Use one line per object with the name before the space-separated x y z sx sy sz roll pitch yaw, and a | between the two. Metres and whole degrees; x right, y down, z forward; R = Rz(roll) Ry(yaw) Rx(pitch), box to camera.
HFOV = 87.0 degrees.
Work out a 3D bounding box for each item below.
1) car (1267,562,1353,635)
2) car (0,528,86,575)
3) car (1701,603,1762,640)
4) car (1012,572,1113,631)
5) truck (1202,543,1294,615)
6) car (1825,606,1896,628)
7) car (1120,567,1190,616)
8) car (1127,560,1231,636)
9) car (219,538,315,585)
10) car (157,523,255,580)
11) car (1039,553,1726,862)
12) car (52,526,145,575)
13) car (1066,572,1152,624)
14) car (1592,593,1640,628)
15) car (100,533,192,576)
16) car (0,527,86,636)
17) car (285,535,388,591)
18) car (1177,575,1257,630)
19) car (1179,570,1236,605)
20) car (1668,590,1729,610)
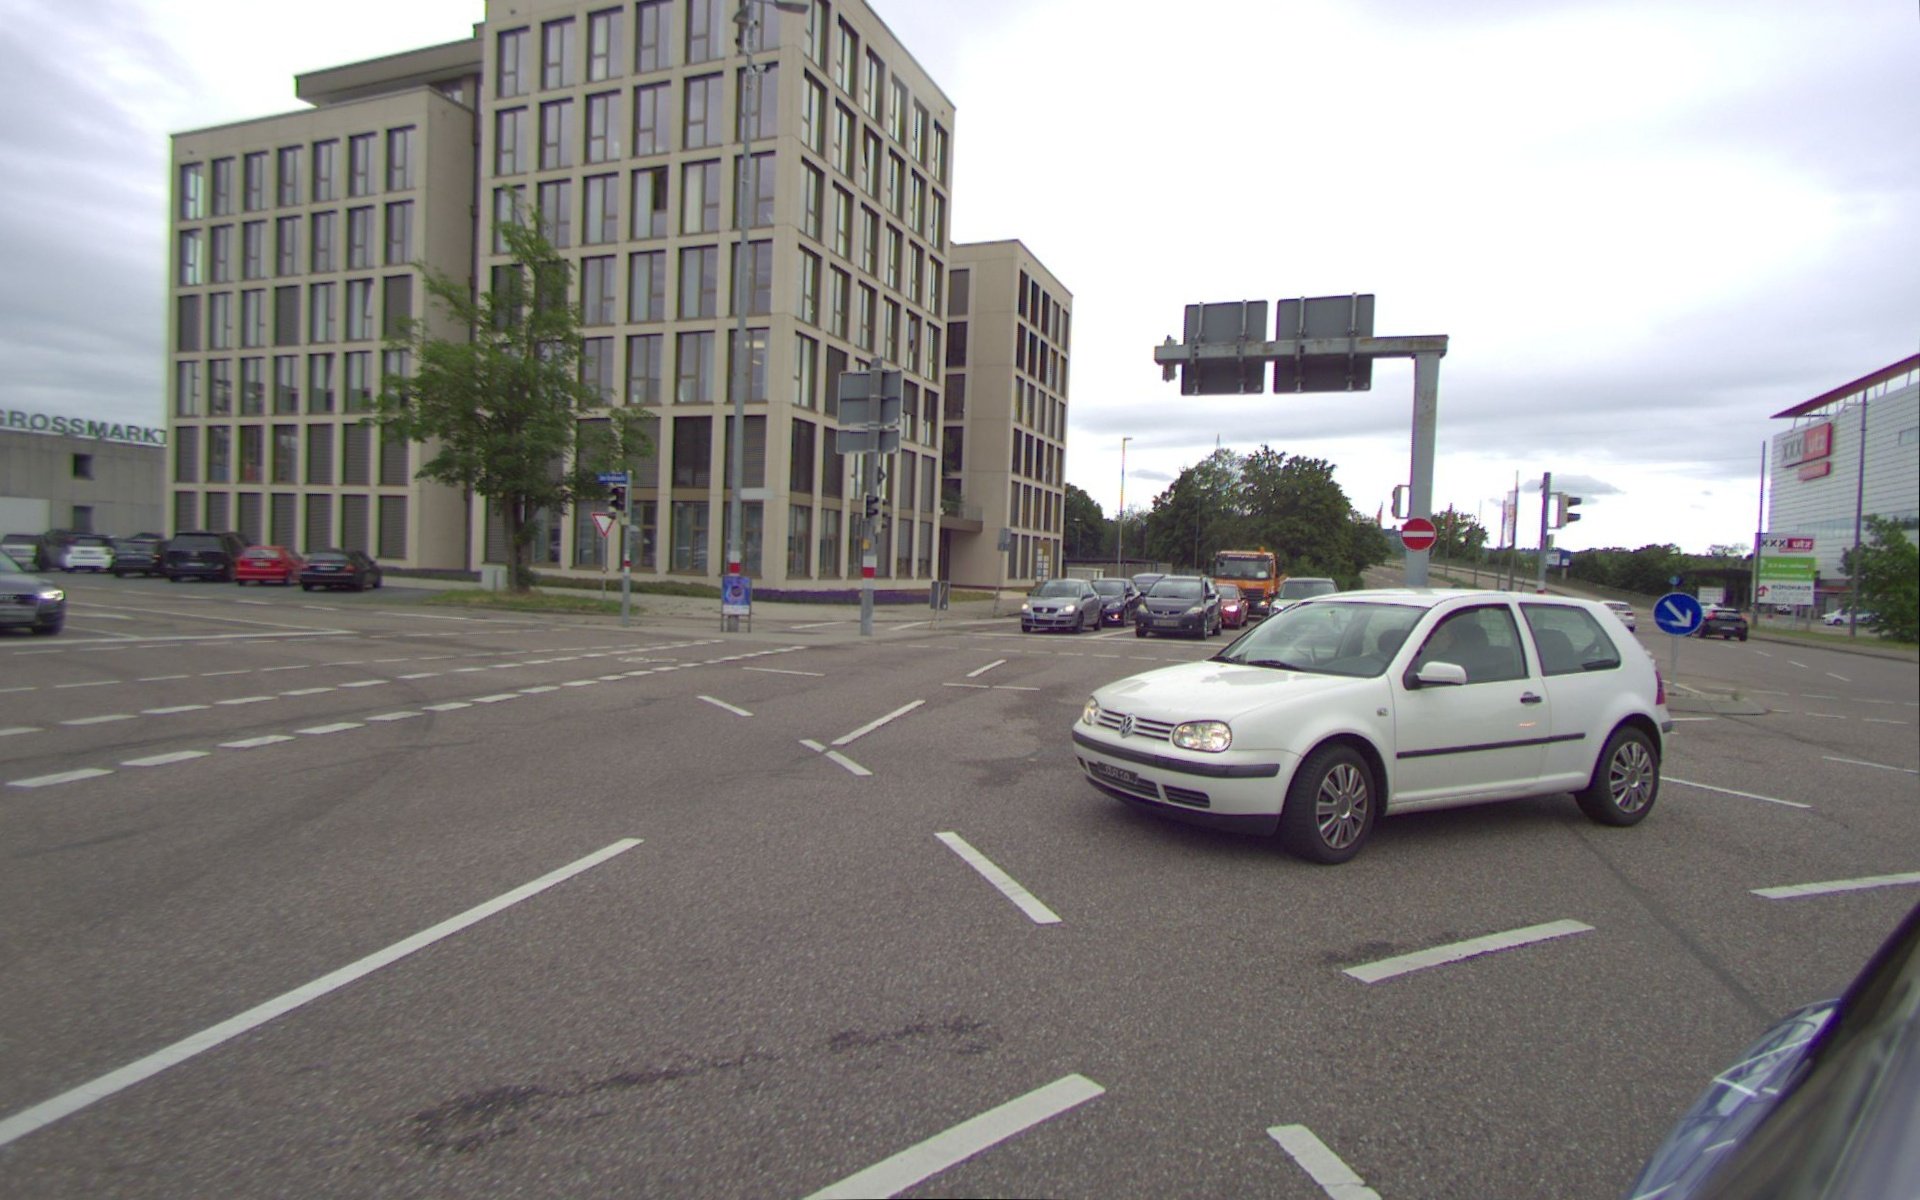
car | 8.991 -0.027 25.960 1.882 1.664 4.041 2 0 20
car | -37.602 -1.936 41.163 1.729 1.754 3.441 2 0 -16
car | 35.185 1.011 46.116 1.897 1.468 4.116 -2 -5 41
car | 2.914 0.047 28.062 1.731 1.450 4.068 2 0 21
truck | 11.860 -0.775 41.272 2.790 2.672 6.622 2 0 23
car | 77.466 1.460 87.143 4.150 1.630 1.709 2 0 23
car | 7.850 -0.305 40.496 1.977 1.791 4.119 2 0 22
car | 5.857 -0.038 26.669 1.977 1.791 4.389 2 0 22
car | -25.349 -1.400 37.184 1.849 1.570 4.143 1 1 -19
car | -28.361 -1.794 38.203 1.958 1.990 4.254 1 1 -22
car | 2.696 0.564 6.516 3.921 1.496 1.842 2 0 -23
car | -35.521 -2.004 41.833 1.557 1.821 3.441 2 0 -16
car | 4.881 -0.048 32.717 1.850 1.509 4.119 2 0 22
car | 32.703 0.543 50.437 1.824 1.427 4.146 7 2 34
car | -31.554 -1.740 39.340 1.661 1.530 3.826 1 1 -21
car | -15.849 -0.384 15.639 4.570 1.570 1.967 3 2 27
car | -21.525 -1.275 35.115 1.849 1.790 4.143 1 1 -14
car | 8.472 0.093 33.121 1.977 1.621 3.970 2 0 22
car | 12.908 -0.639 52.665 1.981 1.678 4.081 2 0 27
car | 66.025 0.023 90.566 4.163 1.630 1.704 2 0 30
